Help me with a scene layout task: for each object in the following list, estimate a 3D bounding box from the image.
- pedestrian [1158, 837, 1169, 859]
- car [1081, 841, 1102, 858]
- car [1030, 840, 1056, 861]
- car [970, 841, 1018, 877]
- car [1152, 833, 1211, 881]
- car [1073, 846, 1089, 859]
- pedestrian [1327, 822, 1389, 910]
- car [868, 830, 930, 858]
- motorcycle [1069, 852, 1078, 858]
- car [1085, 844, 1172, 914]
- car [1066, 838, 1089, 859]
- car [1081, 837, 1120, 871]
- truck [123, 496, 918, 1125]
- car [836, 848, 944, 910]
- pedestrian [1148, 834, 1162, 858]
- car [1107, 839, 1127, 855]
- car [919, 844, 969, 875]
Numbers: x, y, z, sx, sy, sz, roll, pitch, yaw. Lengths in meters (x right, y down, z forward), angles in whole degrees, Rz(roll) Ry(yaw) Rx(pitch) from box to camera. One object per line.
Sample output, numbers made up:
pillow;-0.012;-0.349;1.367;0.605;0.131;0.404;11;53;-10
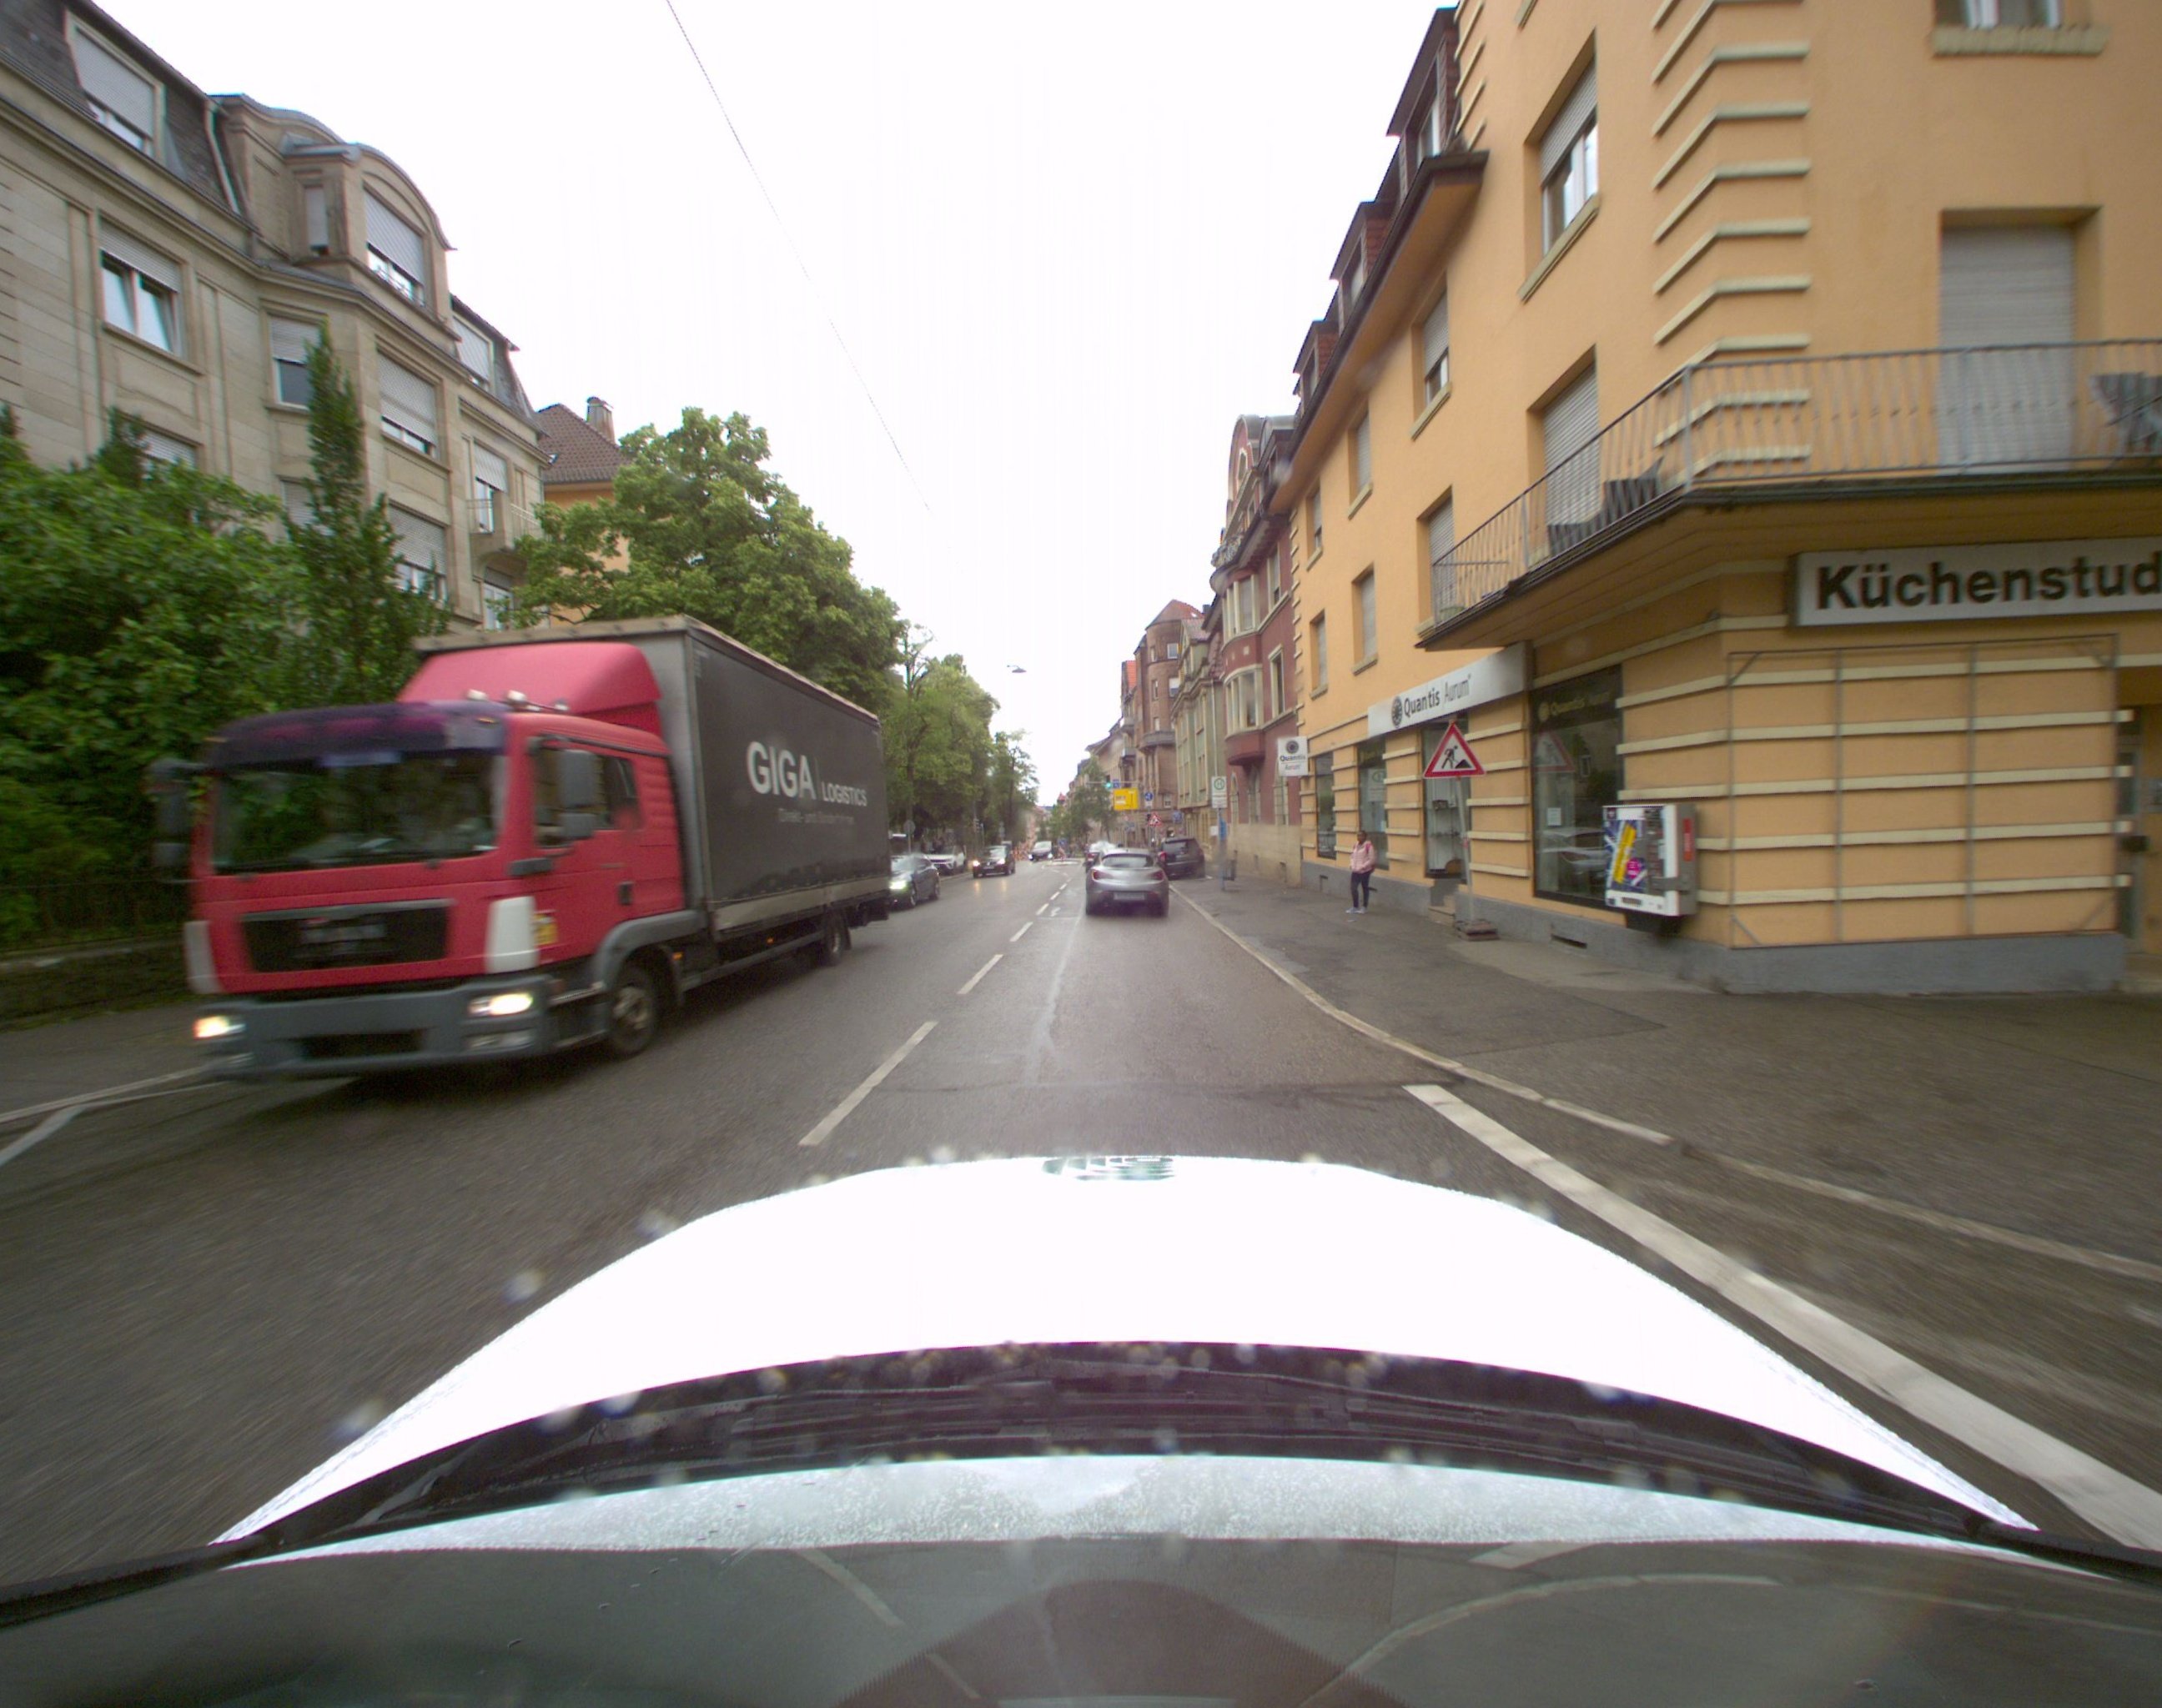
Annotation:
pedestrian;6.106;-0.469;60.241;0.591;1.584;0.669;-4;1;20
car;1.073;-0.454;83.170;1.654;1.543;3.659;-4;0;-5
car;-2.955;-0.308;64.401;1.810;1.517;4.547;-1;1;0
car;-4.312;0.211;41.028;1.766;1.517;4.593;-3;2;1
car;3.940;0.108;32.667;1.869;1.629;4.700;-5;0;2
car;-0.017;-0.156;103.847;1.654;1.543;3.659;-4;0;-5
pedestrian;5.243;0.217;15.439;0.768;1.589;0.708;-3;0;-17
car;-15.531;-0.866;69.620;4.628;2.048;2.035;4;3;16
motorcycle;-1.457;0.222;155.478;0.649;1.236;1.994;-2;-2;34
car;1.105;0.534;19.178;1.803;1.449;3.872;-1;0;3
car;-0.265;-0.446;66.273;1.651;1.543;3.666;-4;0;1
car;0.998;-0.008;39.430;1.765;1.504;3.871;-1;0;2
truck;-4.539;-0.314;9.879;2.637;3.854;9.313;-4;0;2
car;-5.247;0.614;23.062;1.766;1.467;4.749;-3;1;1
pedestrian;5.500;-0.594;60.493;0.712;1.774;0.669;-4;1;20
car;3.874;-0.695;87.748;1.654;1.543;3.659;-4;0;-5
car;-7.329;0.280;43.945;1.734;1.559;4.305;0;0;2
